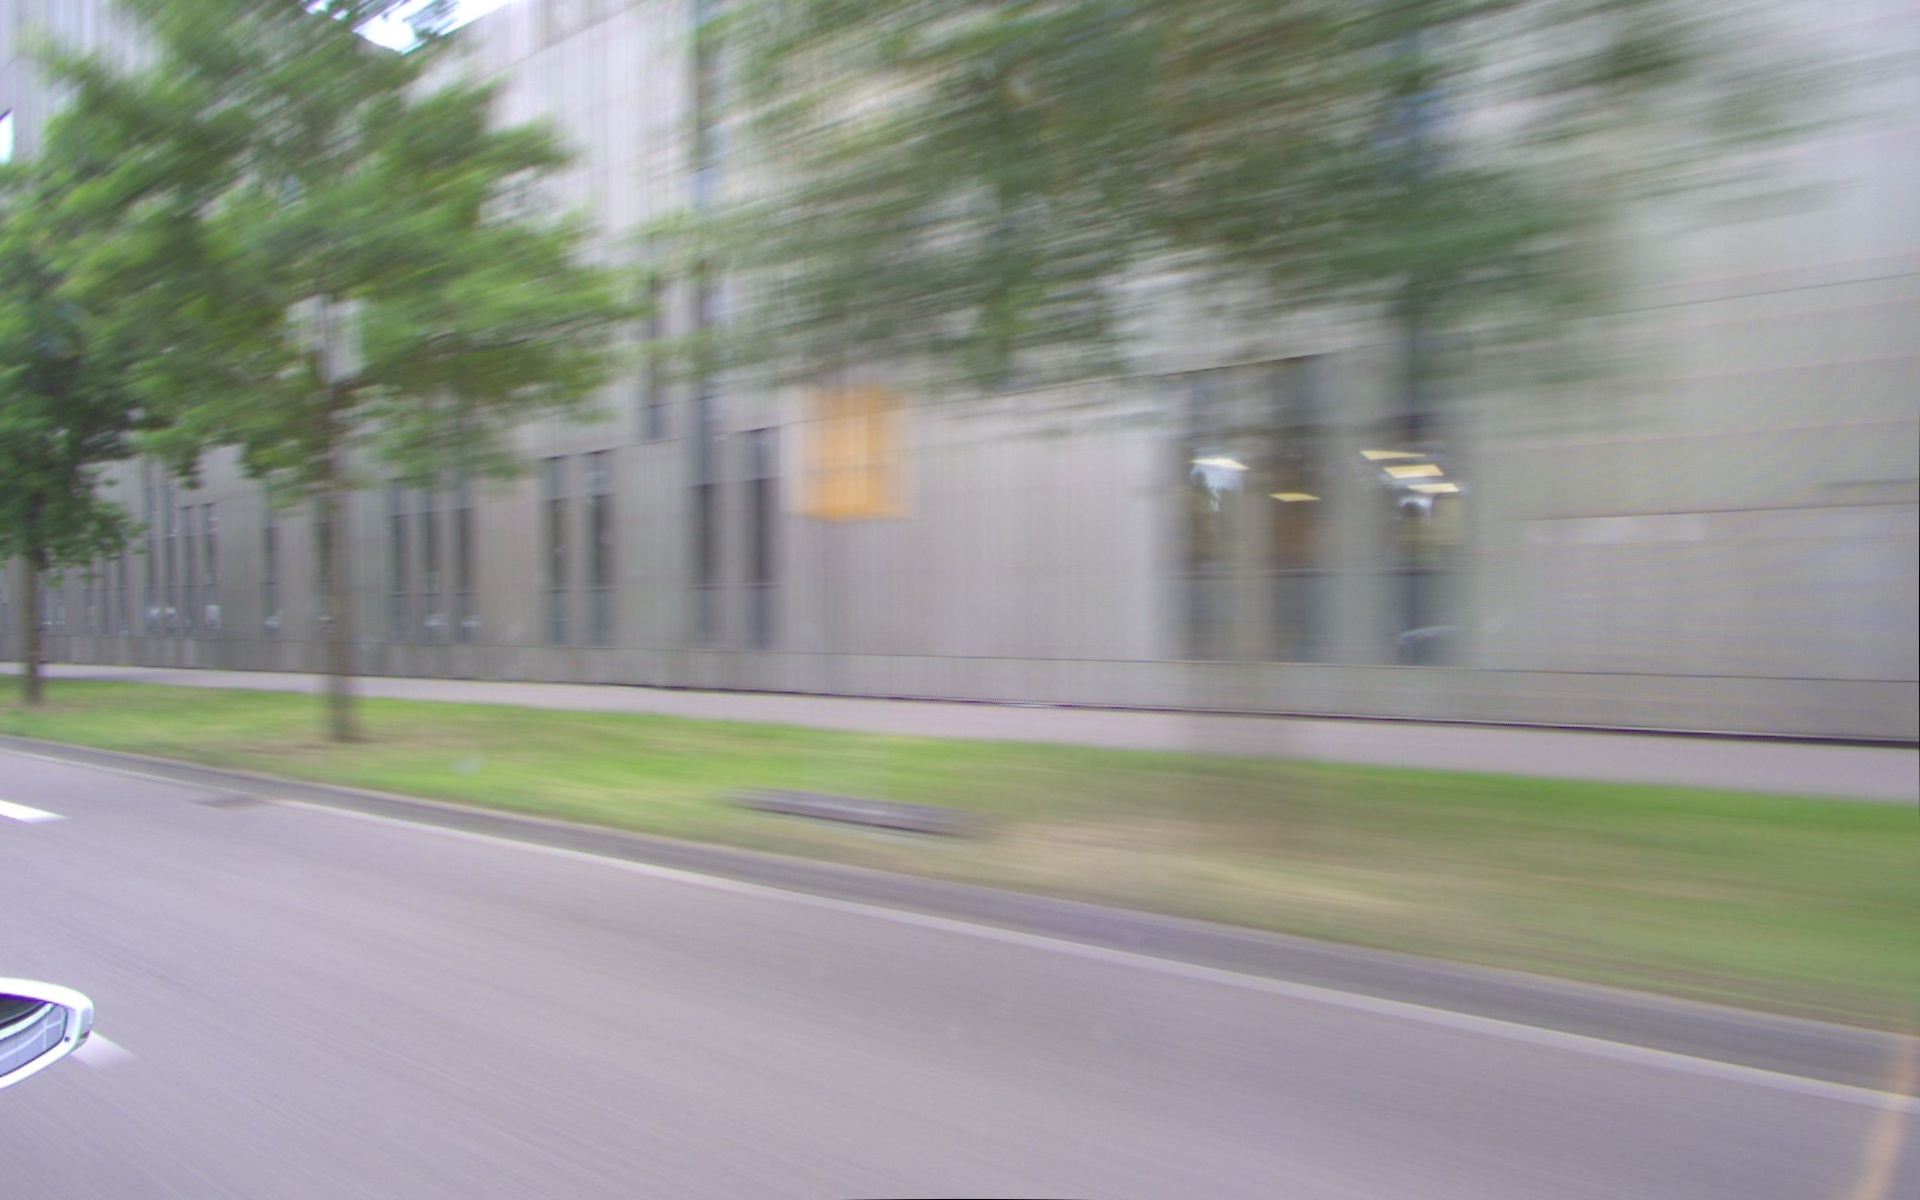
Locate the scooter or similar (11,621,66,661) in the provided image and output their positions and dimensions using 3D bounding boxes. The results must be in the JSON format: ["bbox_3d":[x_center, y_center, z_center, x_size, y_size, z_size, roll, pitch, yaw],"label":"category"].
[{"bbox_3d":[-30.572,1.346,33.217,2.444,1.263,0.703,-1,1,33],"label":"scooter or similar"}]
